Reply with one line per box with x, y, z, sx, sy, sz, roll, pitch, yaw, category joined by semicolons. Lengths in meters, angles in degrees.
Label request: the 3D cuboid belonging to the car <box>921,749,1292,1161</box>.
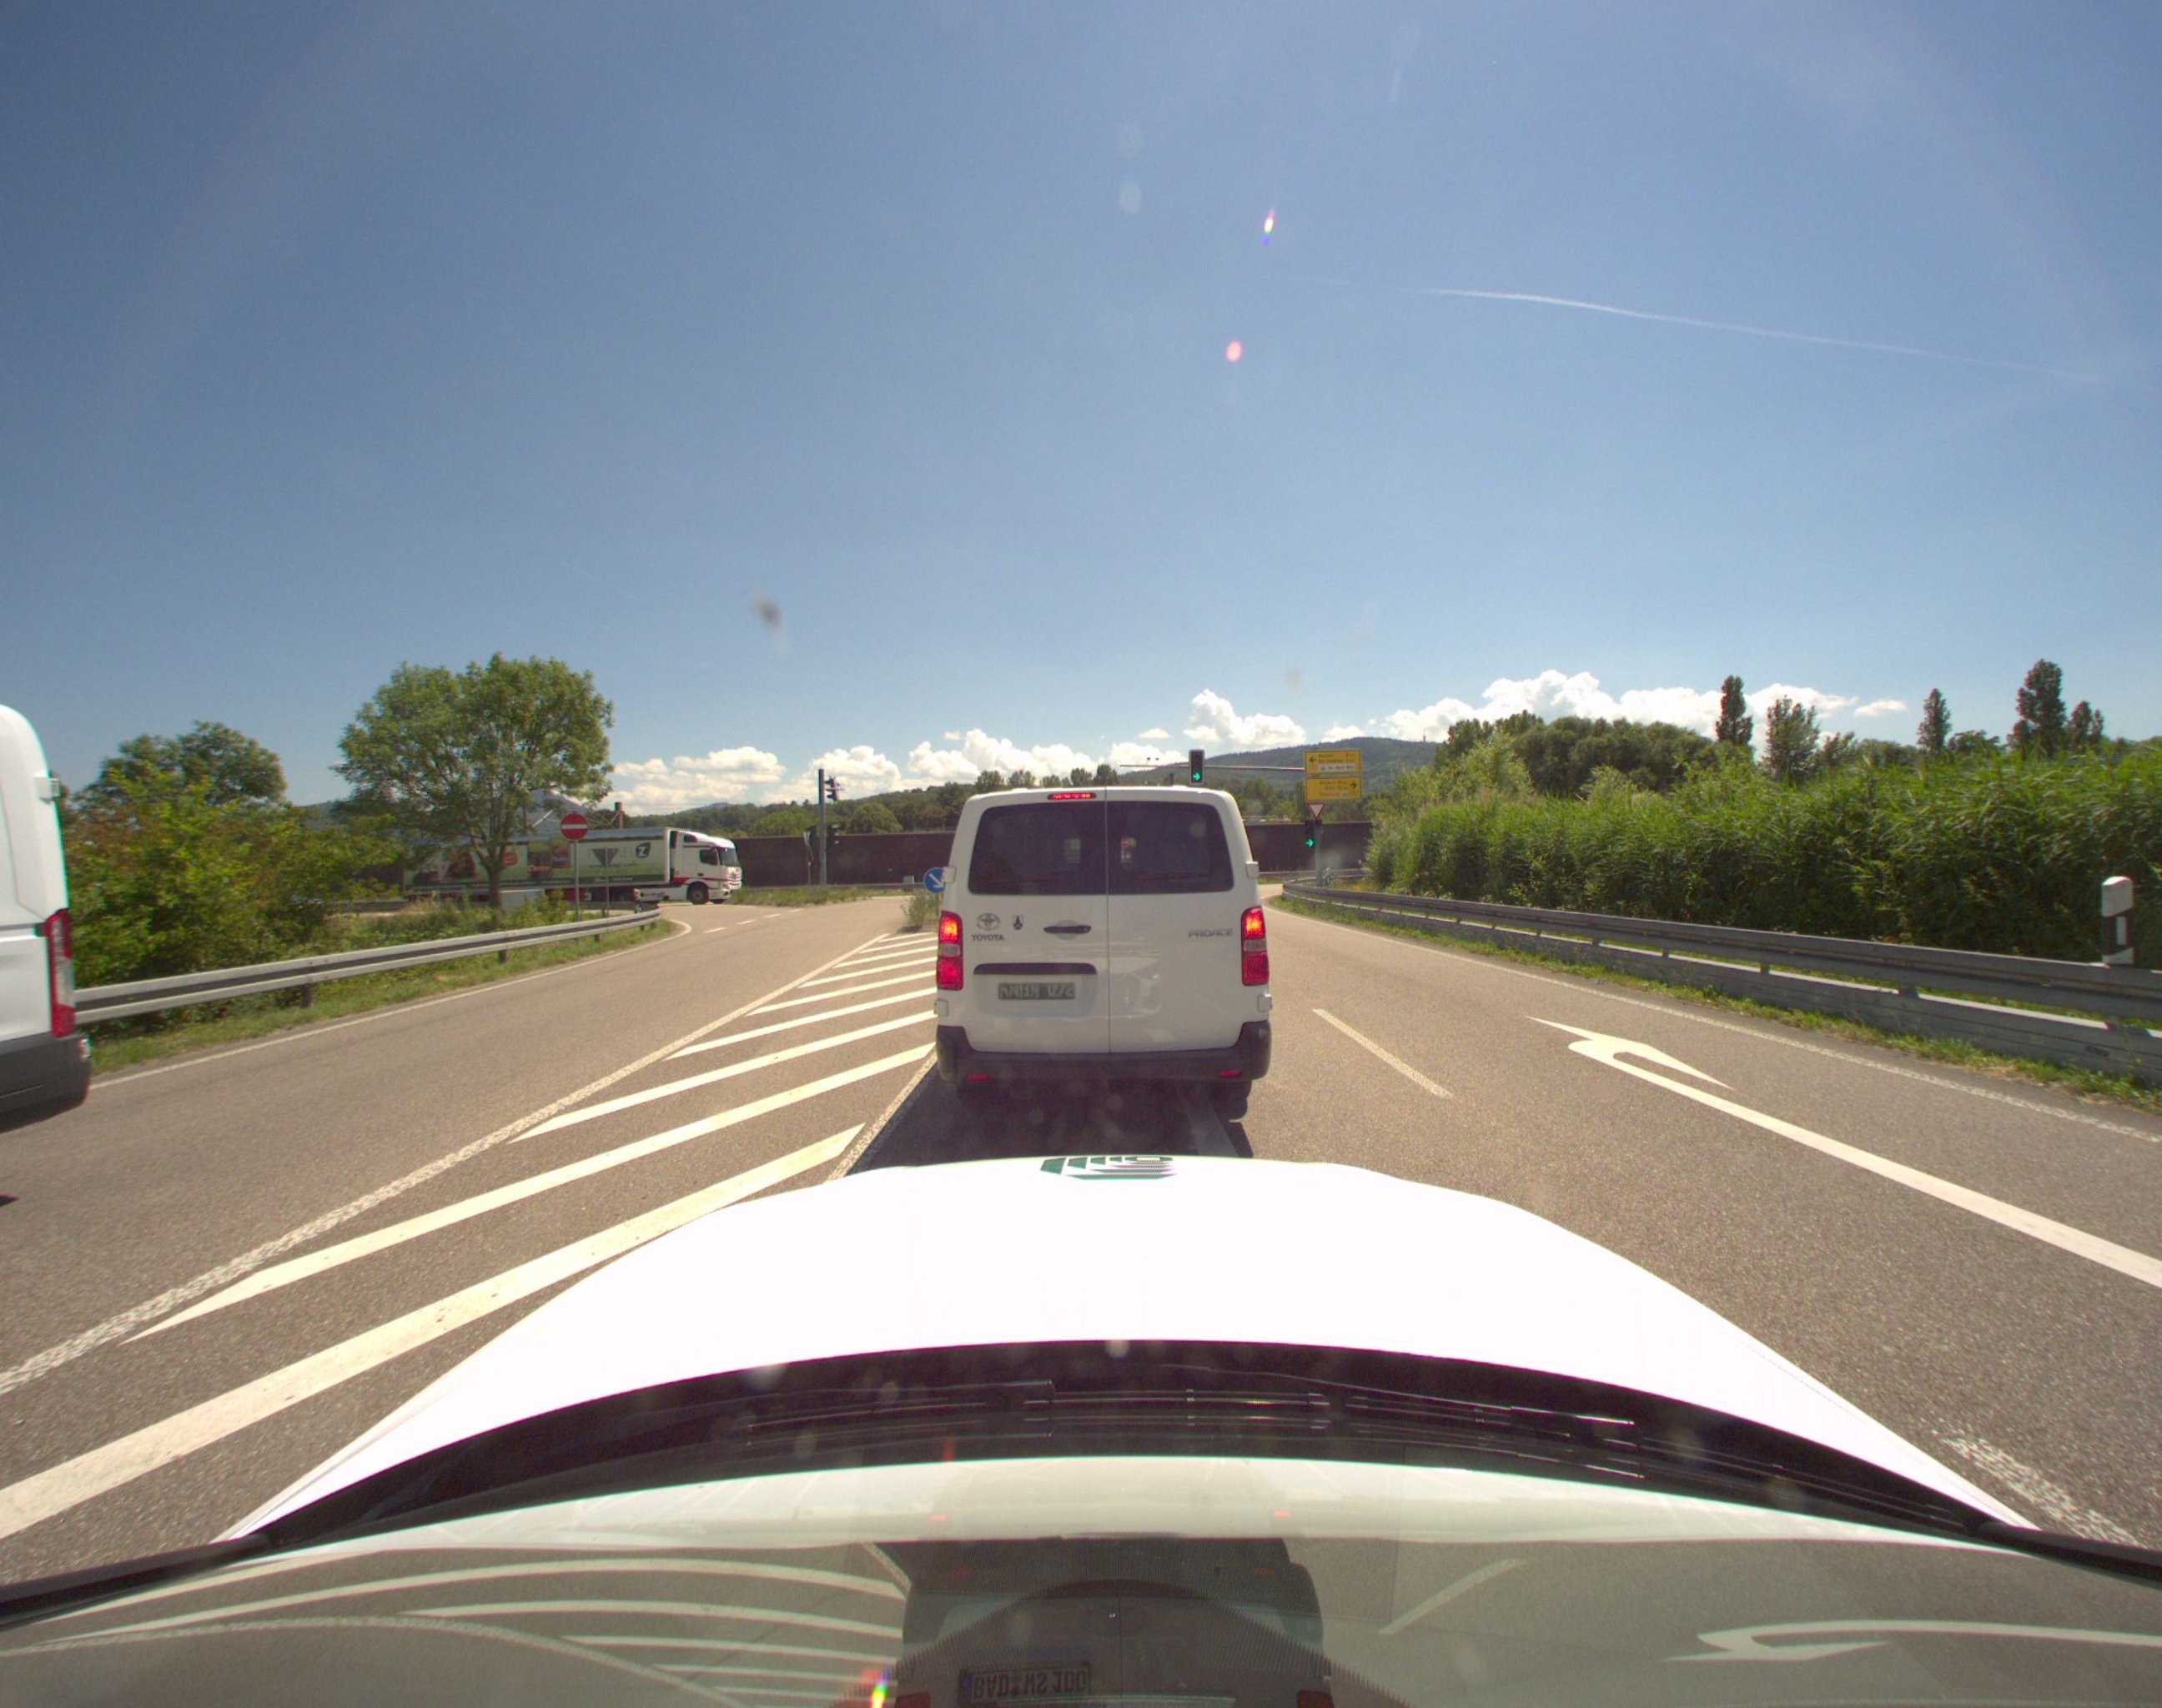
0.182;0.518;6.055;1.808;2.017;4.001;-1;-1;2;car

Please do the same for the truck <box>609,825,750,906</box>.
-20.964;0.589;42.787;5.746;3.954;3.062;-1;-1;0;truck

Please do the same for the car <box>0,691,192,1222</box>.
-5.845;0.486;1.656;1.989;2.416;5.584;-3;0;-2;car

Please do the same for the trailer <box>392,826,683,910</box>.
-28.222;0.725;42.730;13.098;3.954;3.061;-1;-1;0;trailer
